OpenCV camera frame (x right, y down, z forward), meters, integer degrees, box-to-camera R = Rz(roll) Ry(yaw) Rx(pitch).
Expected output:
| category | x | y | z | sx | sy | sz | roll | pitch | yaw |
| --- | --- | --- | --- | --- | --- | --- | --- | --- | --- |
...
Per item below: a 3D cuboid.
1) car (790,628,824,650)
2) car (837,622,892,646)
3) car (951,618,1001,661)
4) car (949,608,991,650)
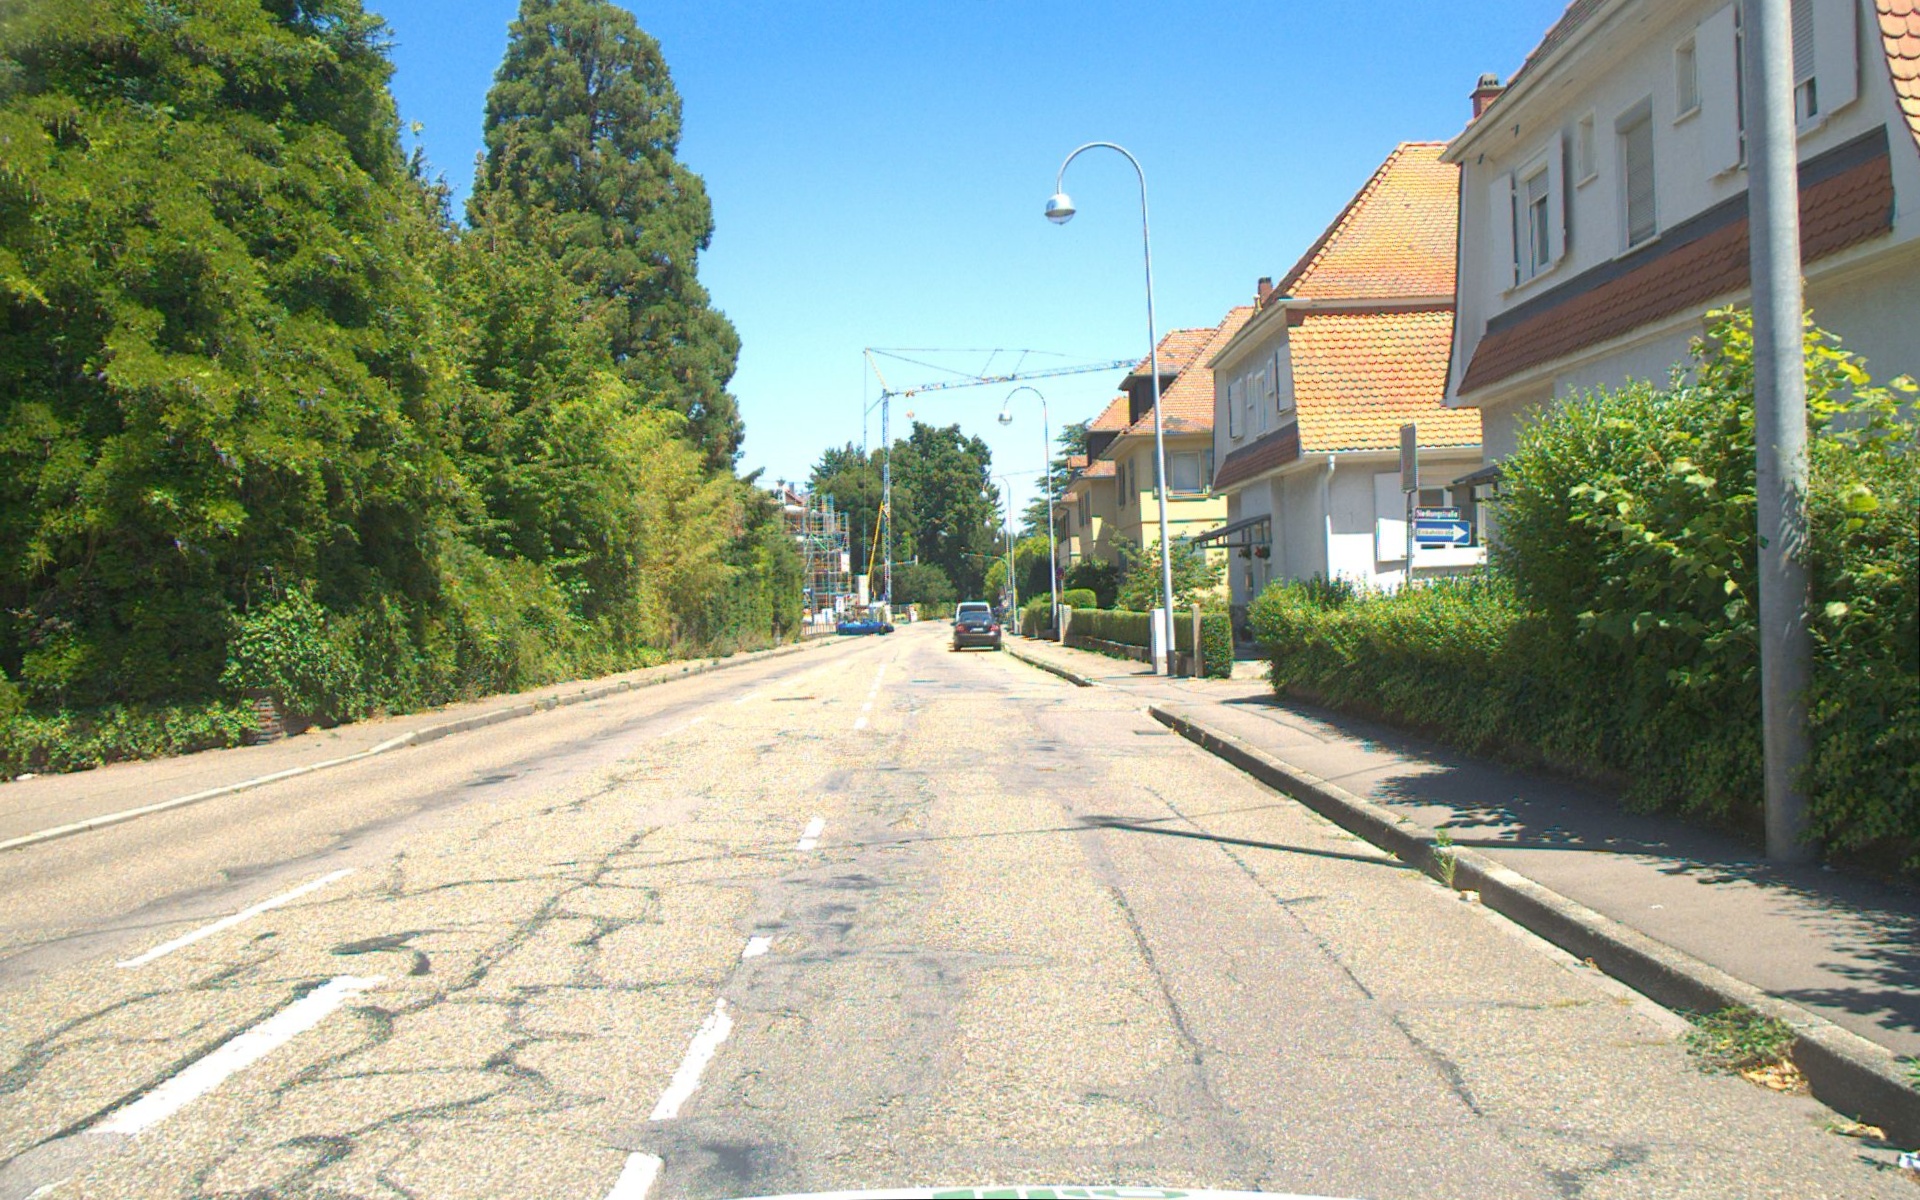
| category | x | y | z | sx | sy | sz | roll | pitch | yaw |
| --- | --- | --- | --- | --- | --- | --- | --- | --- | --- |
| car | -10.465 | 2.641 | 113.376 | 1.625 | 1.413 | 3.537 | -3 | -1 | 5 |
| car | -7.249 | 2.564 | 125.716 | 3.914 | 1.493 | 1.961 | -4 | 0 | -9 |
| car | 0.560 | 1.449 | 60.055 | 1.658 | 1.443 | 4.549 | -2 | -1 | -1 |
| car | 0.469 | 1.393 | 79.933 | 1.953 | 1.934 | 4.821 | 0 | -1 | -1 |
